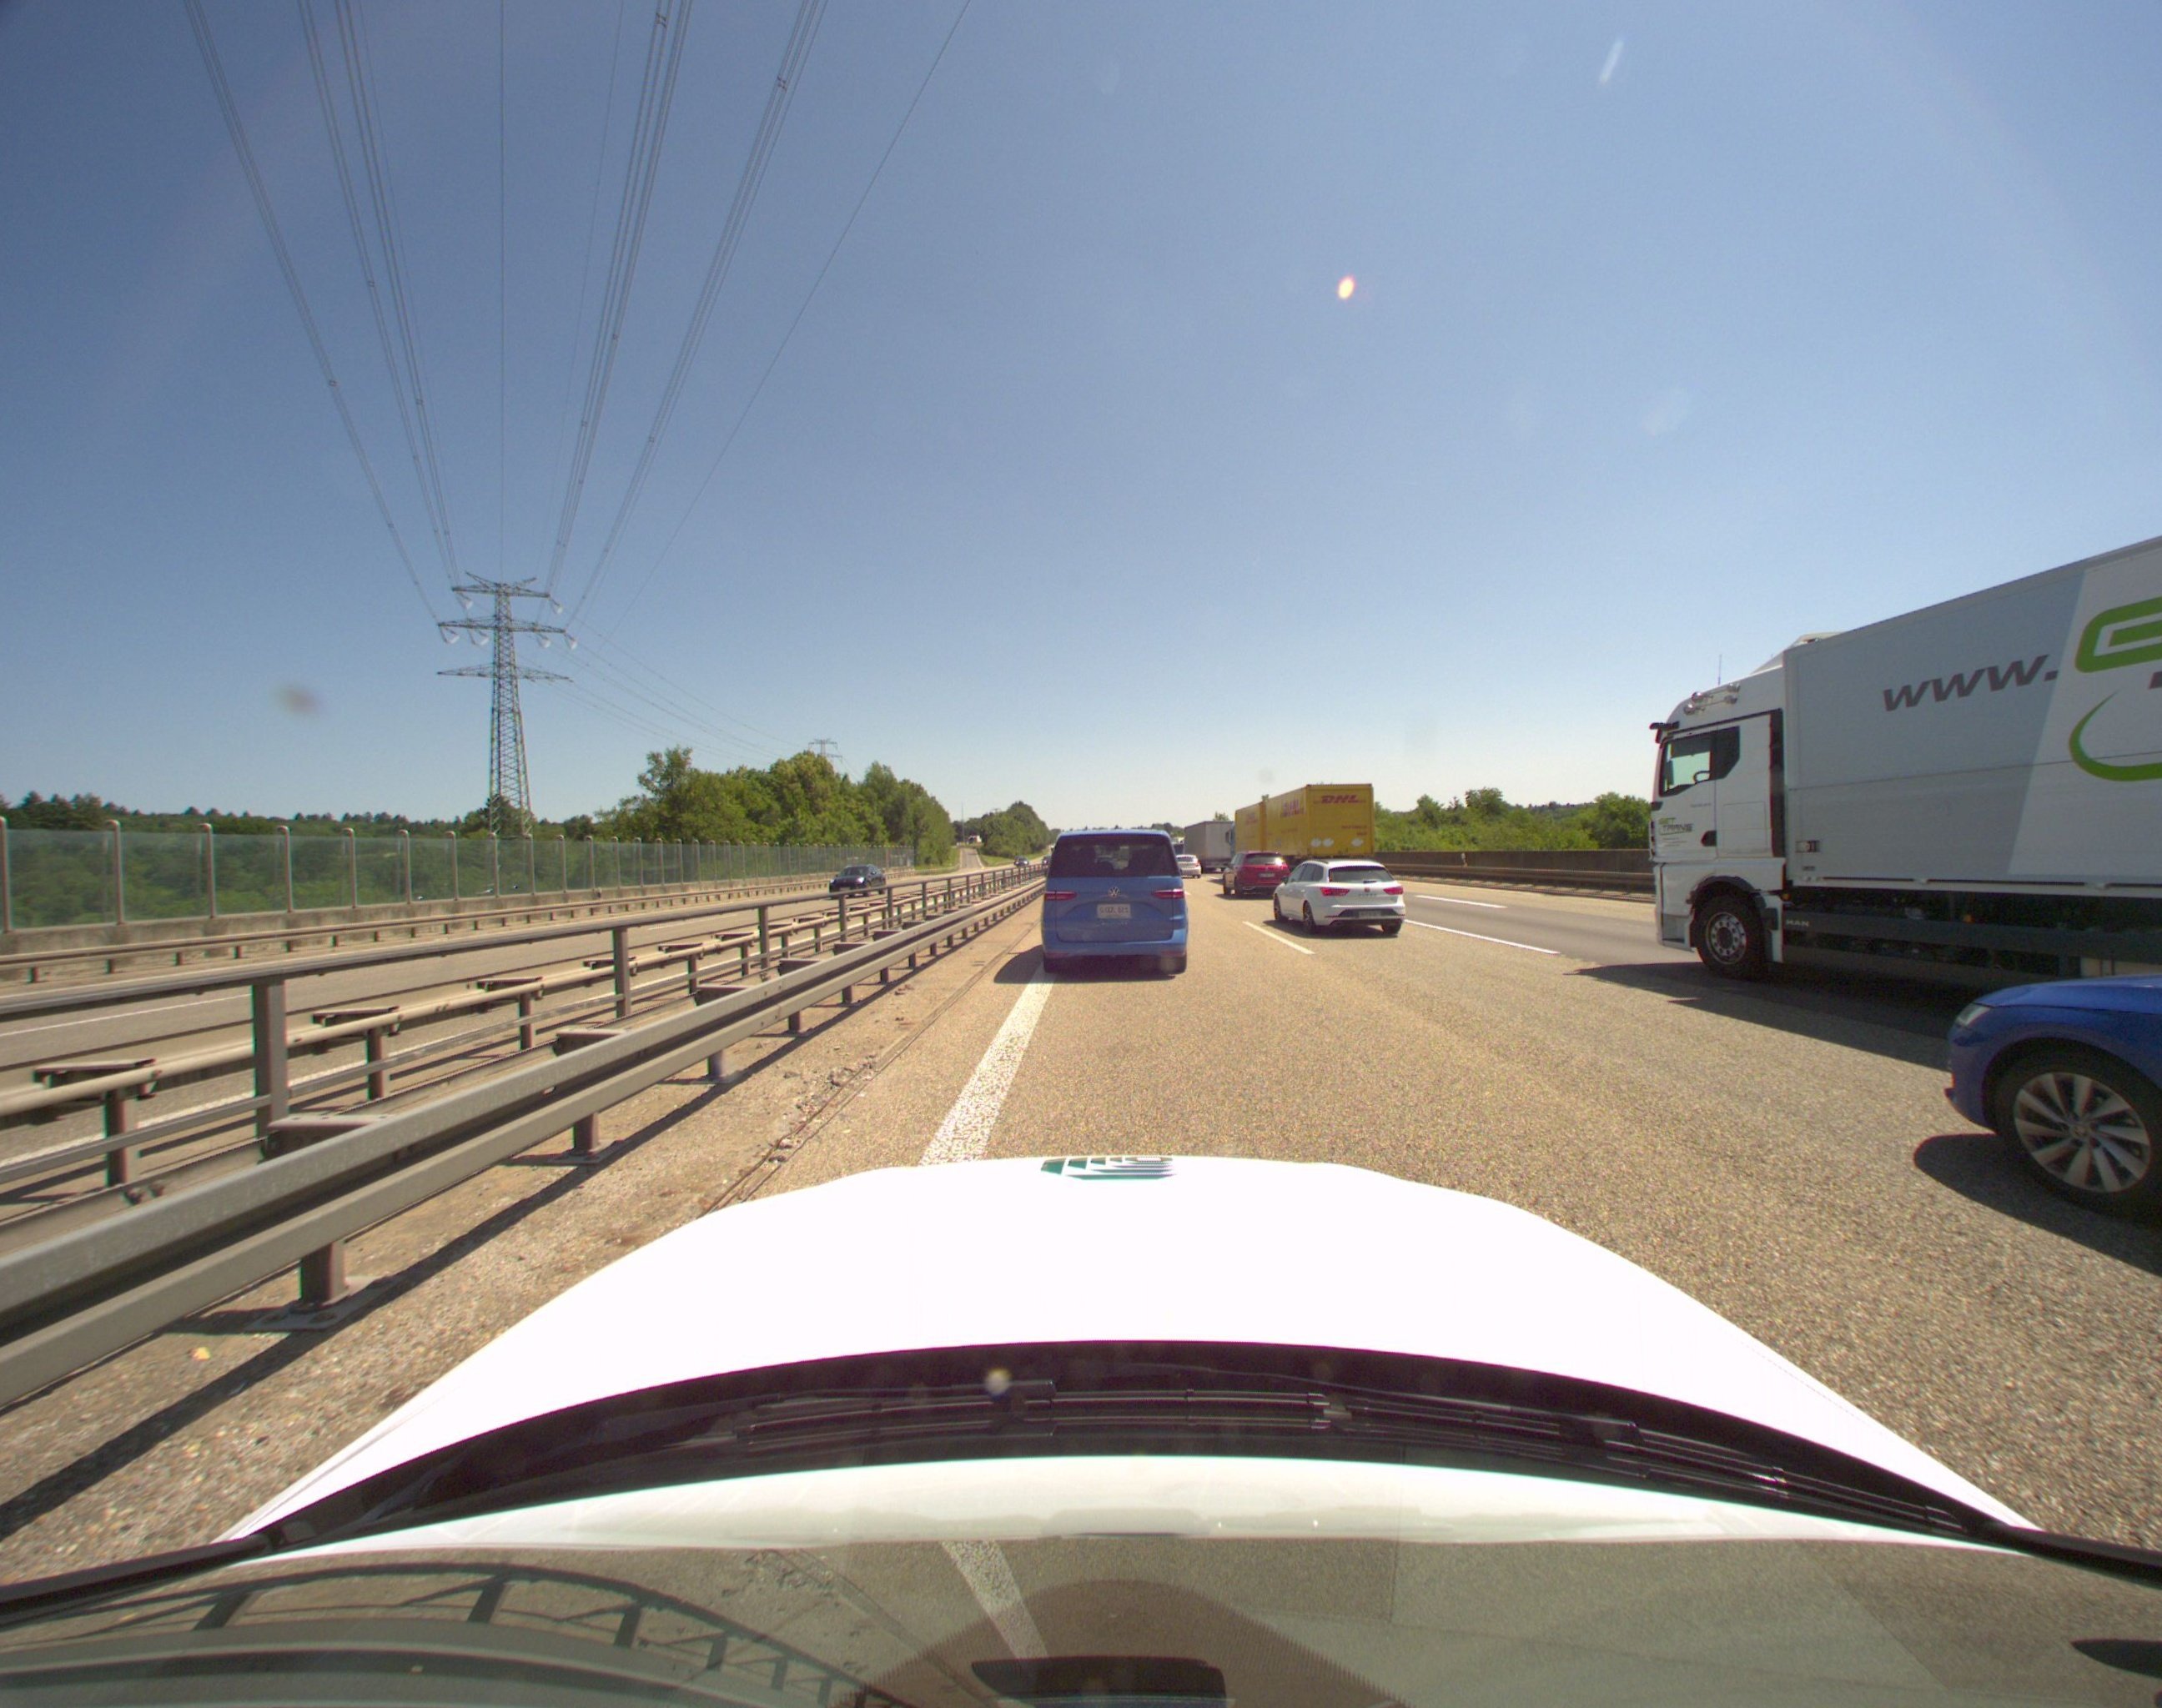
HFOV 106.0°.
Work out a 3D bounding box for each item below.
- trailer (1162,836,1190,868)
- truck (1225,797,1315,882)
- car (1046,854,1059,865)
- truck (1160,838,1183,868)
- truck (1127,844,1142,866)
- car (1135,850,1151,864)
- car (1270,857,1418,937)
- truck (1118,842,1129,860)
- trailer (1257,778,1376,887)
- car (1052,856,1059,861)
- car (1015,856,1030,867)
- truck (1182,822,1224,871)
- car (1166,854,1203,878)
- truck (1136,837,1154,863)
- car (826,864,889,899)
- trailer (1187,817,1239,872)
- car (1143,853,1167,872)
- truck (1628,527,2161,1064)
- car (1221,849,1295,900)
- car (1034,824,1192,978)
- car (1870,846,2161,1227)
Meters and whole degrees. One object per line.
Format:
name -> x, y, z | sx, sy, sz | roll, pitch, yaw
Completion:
trailer -> 11.477, -0.169, 98.857 | 2.371, 3.744, 11.190 | 0, -1, 1
truck -> 9.993, -0.634, 44.289 | 2.712, 4.055, 10.339 | 0, -1, 2
car -> -4.392, 0.849, 125.715 | 1.748, 1.721, 4.102 | -3, 0, 2
truck -> 11.602, -0.114, 104.459 | 2.359, 3.722, 6.034 | 0, -1, 1
truck -> 12.878, 0.289, 197.554 | 2.824, 5.040, 11.815 | 0, -1, 0
car -> 7.284, 0.322, 96.338 | 1.709, 1.540, 3.823 | -3, 0, 2
car -> 5.181, 0.772, 16.634 | 1.774, 1.387, 4.190 | -1, 0, 2
truck -> 13.041, -0.979, 252.835 | 2.824, 5.373, 12.554 | 0, -1, 0
trailer -> 9.700, -0.735, 34.644 | 2.691, 4.023, 8.933 | 0, -1, 2
car -> -7.511, 1.292, 240.608 | 1.903, 1.394, 4.166 | -3, -1, 2
car -> -9.048, 1.103, 125.881 | 1.748, 1.547, 4.001 | -4, -1, 2
truck -> 10.729, -0.595, 72.372 | 2.759, 4.095, 6.985 | 0, -1, 1
car -> 6.570, 0.723, 52.037 | 1.832, 1.414, 4.000 | -1, 0, 0
truck -> 12.938, -0.726, 164.498 | 2.824, 5.040, 11.145 | 0, -1, 0
car -> -11.377, 1.350, 41.762 | 1.773, 1.569, 4.388 | -3, -1, 2
trailer -> 10.574, -0.645, 66.491 | 2.744, 4.146, 11.315 | 0, -1, 2
car -> 6.526, 0.735, 72.171 | 1.710, 1.587, 3.820 | -2, 0, 0
truck -> 8.669, -0.396, 5.610 | 2.840, 3.603, 10.772 | 0, -1, 2
car -> 6.128, 0.655, 28.673 | 1.844, 1.608, 4.002 | -1, 0, 2
car -> 0.454, 0.578, 11.877 | 1.875, 1.837, 4.002 | -1, 0, 2
car -> 4.928, 0.681, 1.984 | 1.704, 1.440, 4.501 | -1, 0, 1
